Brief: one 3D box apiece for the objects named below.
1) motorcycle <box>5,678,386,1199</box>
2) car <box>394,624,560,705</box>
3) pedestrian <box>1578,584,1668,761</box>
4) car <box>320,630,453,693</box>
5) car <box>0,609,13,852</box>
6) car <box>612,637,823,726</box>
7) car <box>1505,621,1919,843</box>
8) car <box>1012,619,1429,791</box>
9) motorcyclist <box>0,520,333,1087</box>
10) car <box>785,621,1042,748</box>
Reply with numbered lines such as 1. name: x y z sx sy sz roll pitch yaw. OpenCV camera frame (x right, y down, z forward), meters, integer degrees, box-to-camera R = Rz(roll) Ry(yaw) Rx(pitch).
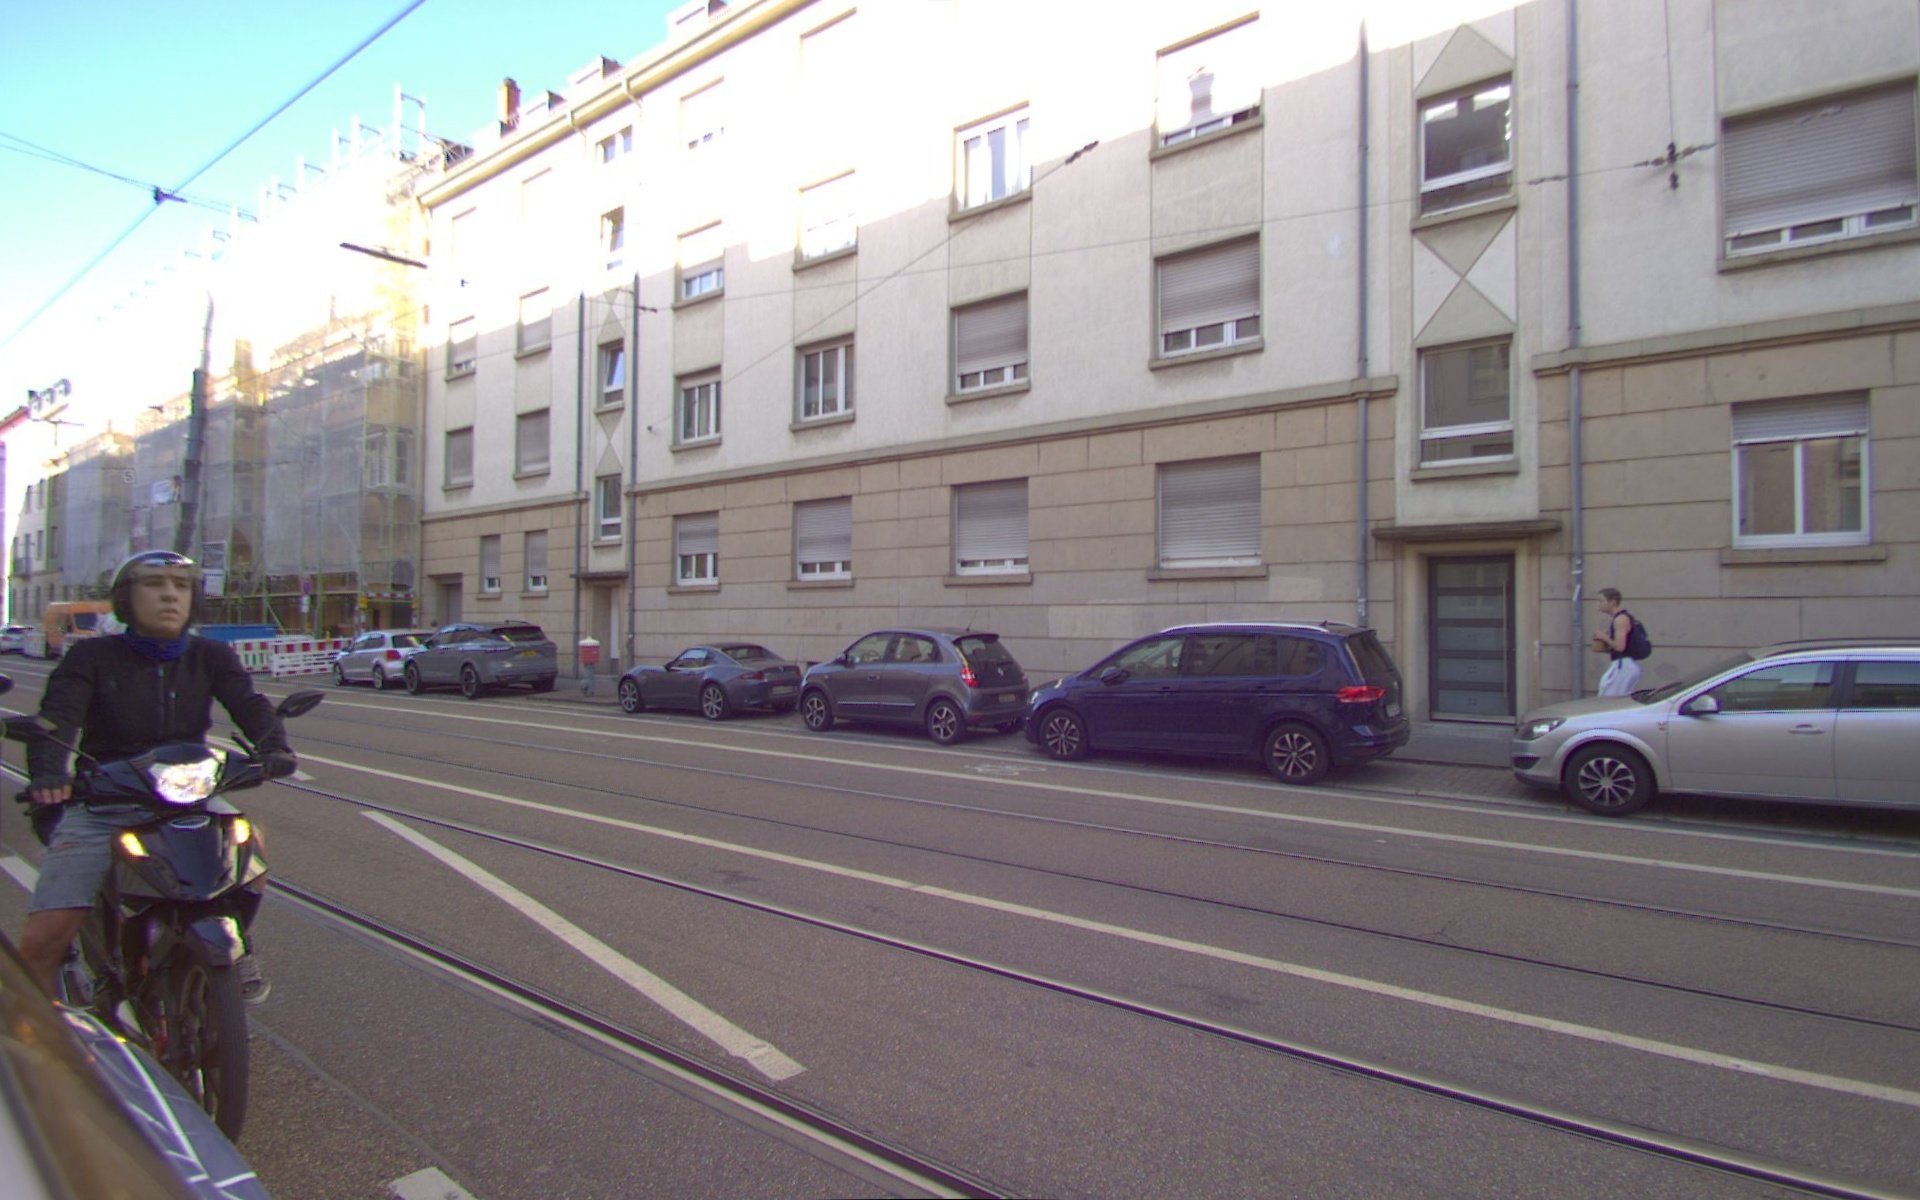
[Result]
1. motorcycle: -2.413 0.910 3.082 1.980 1.228 0.532 -1 0 41
2. car: -10.862 1.362 22.650 4.108 1.603 1.691 -1 0 38
3. pedestrian: 7.219 0.752 11.023 0.733 1.846 0.592 -1 0 41
4. car: -14.478 1.492 25.498 3.639 1.402 1.617 -1 0 37
5. car: -8.016 0.829 6.996 3.997 1.515 1.670 -2 -3 40
6. car: -4.239 1.332 17.537 3.483 1.286 1.730 -1 0 37
7. car: 7.215 0.991 8.532 4.358 1.571 1.975 -1 0 38
8. car: 2.904 1.042 11.715 4.285 1.597 1.887 -1 0 37
9. motorcyclist: -2.560 0.542 3.183 0.598 1.516 0.851 -1 0 41
10. car: -0.728 1.116 14.679 3.493 1.584 1.650 -1 0 38
